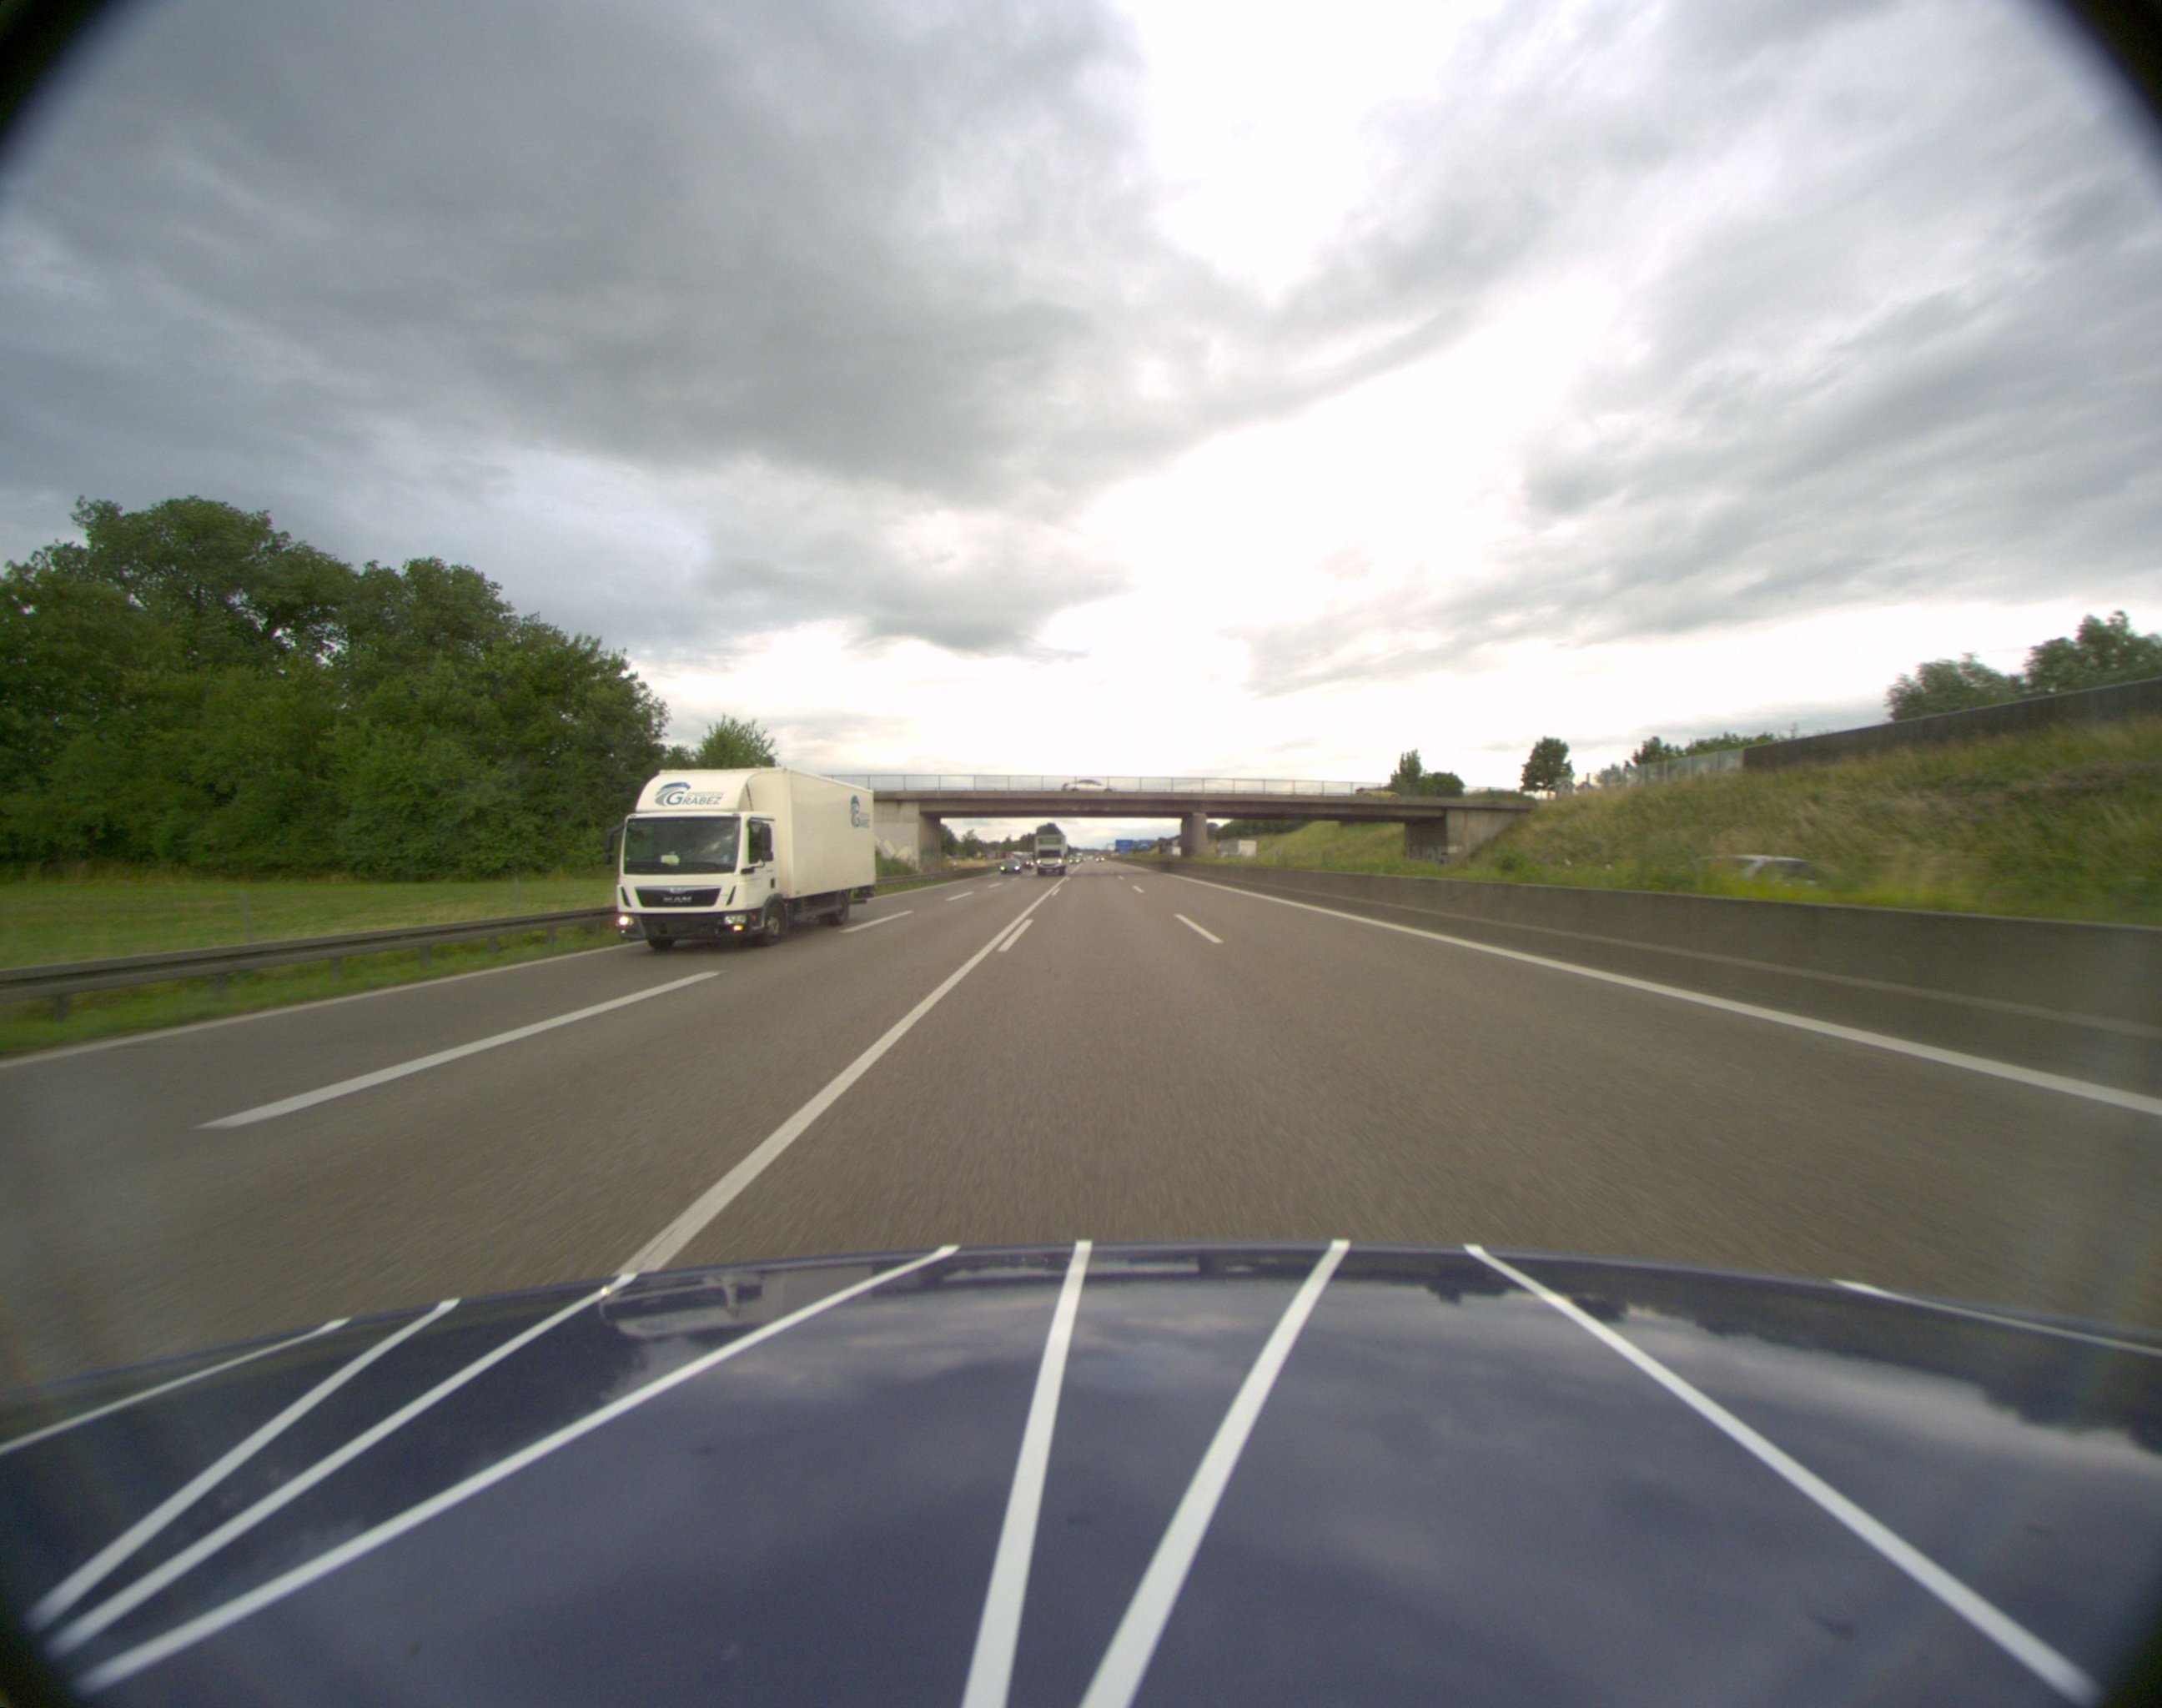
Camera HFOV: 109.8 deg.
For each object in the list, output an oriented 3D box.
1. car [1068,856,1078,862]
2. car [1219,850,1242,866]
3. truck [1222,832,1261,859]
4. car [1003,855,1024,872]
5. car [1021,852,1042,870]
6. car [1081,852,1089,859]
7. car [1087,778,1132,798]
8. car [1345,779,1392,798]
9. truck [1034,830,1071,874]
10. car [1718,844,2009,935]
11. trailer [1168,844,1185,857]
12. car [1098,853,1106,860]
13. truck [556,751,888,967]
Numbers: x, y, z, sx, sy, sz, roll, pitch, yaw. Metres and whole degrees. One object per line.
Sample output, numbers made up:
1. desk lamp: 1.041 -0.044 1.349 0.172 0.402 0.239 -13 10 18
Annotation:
1. car: -1.612 0.928 154.226 1.781 1.180 4.000 -1 0 1
2. car: 18.154 0.500 92.468 1.731 1.818 4.721 0 0 -1
3. truck: 23.036 -1.179 109.606 3.005 3.662 13.008 -1 0 1
4. car: -6.497 0.894 73.431 1.923 1.541 4.922 0 0 -4
5. car: -6.080 0.825 93.515 2.149 2.051 4.957 -2 0 0
6. car: 1.161 0.331 207.880 1.998 2.002 4.000 0 0 1
7. car: 2.295 -5.286 61.164 3.341 1.439 1.659 -1 1 -11
8. car: 24.773 -5.656 65.513 3.341 1.439 1.659 -1 1 -10
9. truck: -2.365 -0.133 65.582 2.777 3.484 9.061 -2 0 0
10. car: 17.004 0.694 16.952 1.730 1.740 4.722 0 0 2
11. trailer: 24.156 -0.915 192.778 2.928 2.938 13.971 -2 0 1
12. car: 5.637 0.620 201.076 1.998 2.002 4.000 0 0 1
13. truck: -7.058 0.081 17.011 3.112 3.450 8.890 -2 0 0
